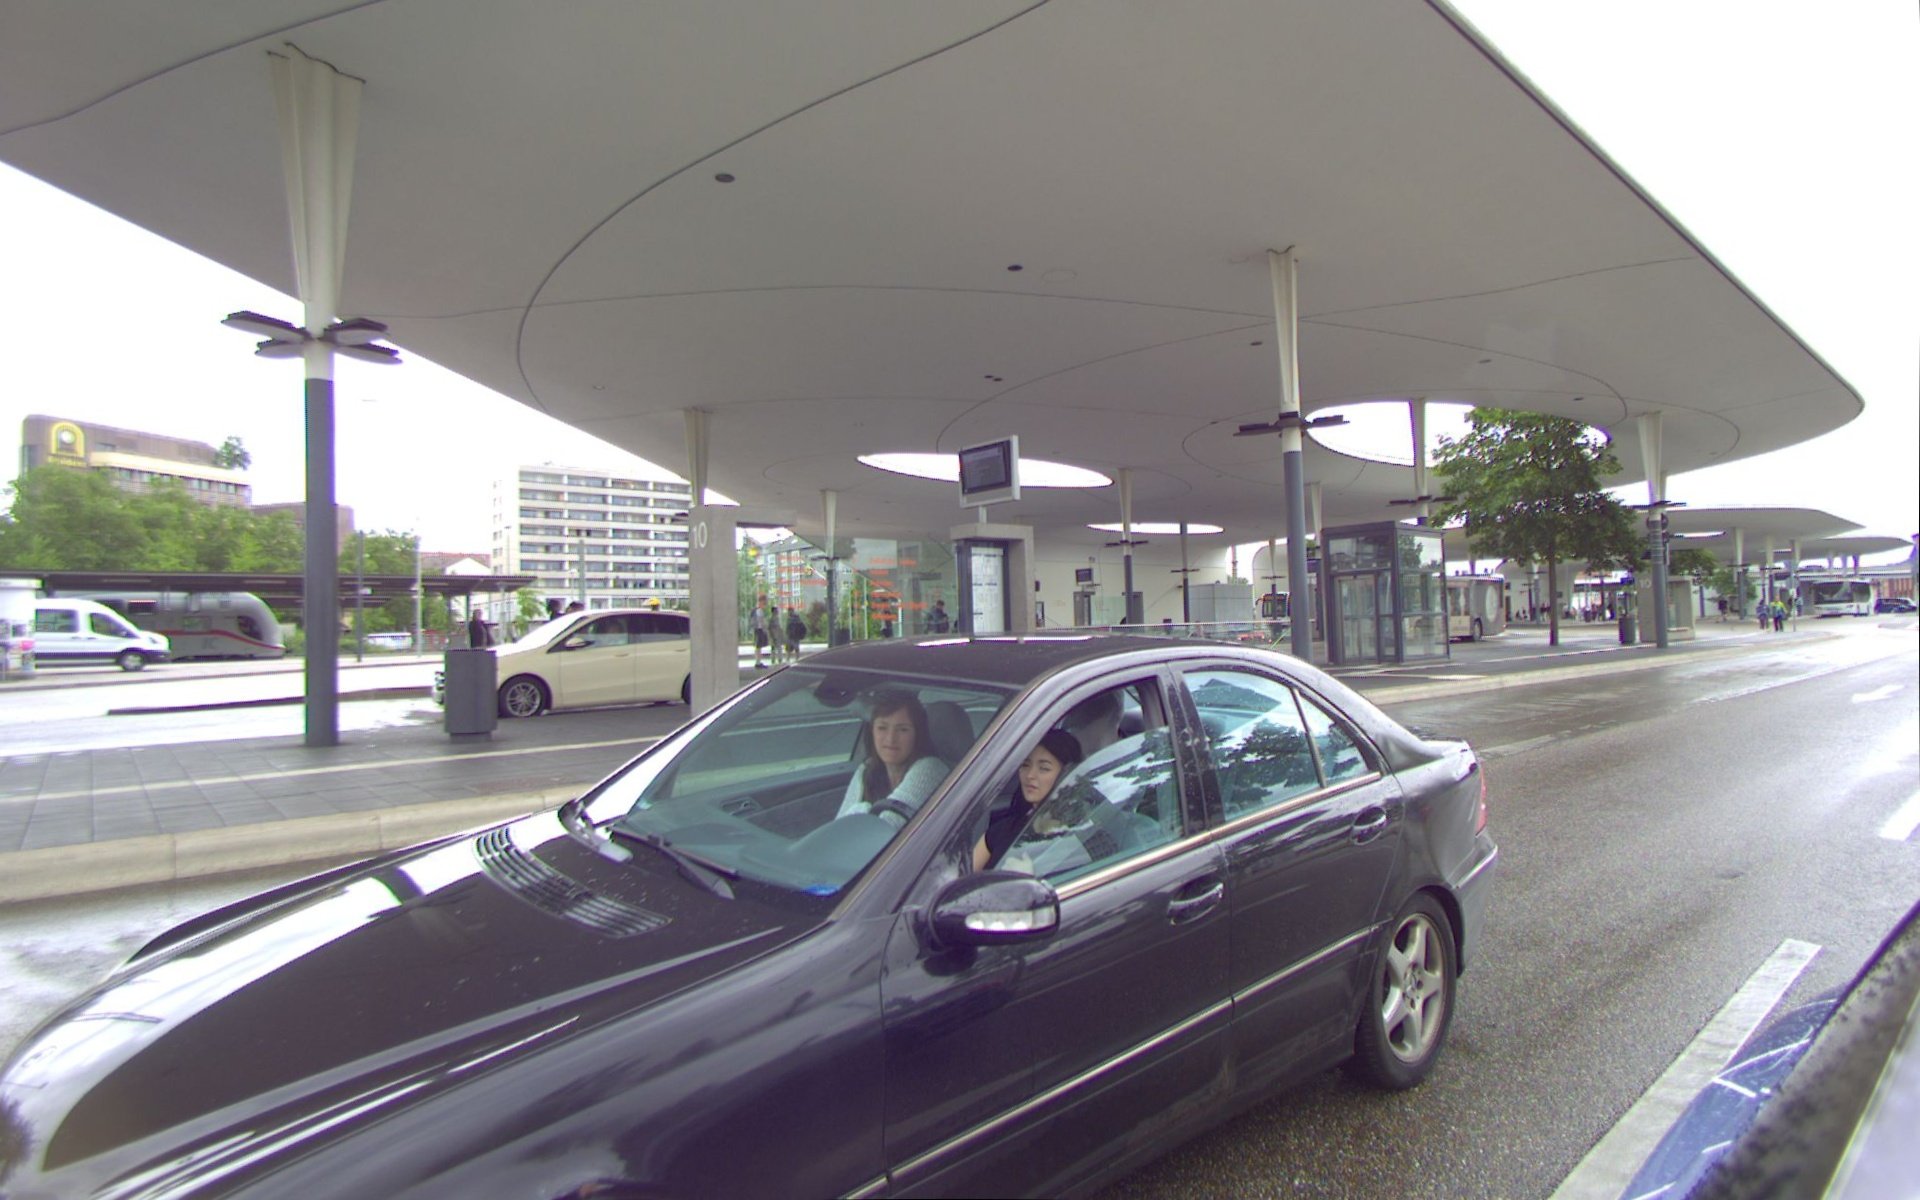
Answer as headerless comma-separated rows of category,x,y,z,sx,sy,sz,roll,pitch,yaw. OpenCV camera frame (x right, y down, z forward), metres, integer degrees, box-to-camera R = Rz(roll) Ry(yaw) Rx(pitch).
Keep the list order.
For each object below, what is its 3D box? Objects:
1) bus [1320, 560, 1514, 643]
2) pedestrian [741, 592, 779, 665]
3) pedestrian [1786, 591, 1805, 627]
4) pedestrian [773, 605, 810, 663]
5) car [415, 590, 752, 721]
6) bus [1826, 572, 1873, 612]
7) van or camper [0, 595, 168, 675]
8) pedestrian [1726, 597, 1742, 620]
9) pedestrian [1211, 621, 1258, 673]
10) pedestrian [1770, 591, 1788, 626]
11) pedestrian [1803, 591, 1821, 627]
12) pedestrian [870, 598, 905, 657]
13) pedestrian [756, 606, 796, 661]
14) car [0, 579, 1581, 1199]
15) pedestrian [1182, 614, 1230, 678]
bus,20.008,0.047,43.675,12.143,3.146,2.999,0,-1,-42
pedestrian,-4.796,0.672,24.264,0.680,1.728,0.658,0,-1,-40
pedestrian,39.093,0.412,47.362,0.543,1.645,0.556,0,-1,-41
pedestrian,-4.910,0.972,29.476,0.646,1.654,0.854,-1,-1,43
car,-5.513,0.749,15.134,4.356,1.671,1.803,0,-3,-41
bus,75.372,-0.670,85.708,2.666,3.169,9.565,-1,-1,43
van or camper,-29.779,1.103,33.226,5.868,2.495,2.106,0,-1,-41
pedestrian,55.569,0.615,72.653,0.740,1.651,0.723,0,-1,-41
pedestrian,5.329,0.903,19.664,0.626,0.974,0.622,0,-1,-41
pedestrian,38.770,0.379,47.908,0.577,1.645,0.576,0,-1,-41
pedestrian,39.394,0.413,46.797,0.543,1.645,0.556,0,-1,-41
pedestrian,-1.938,0.722,27.066,0.680,1.564,0.658,0,-1,-40
pedestrian,-5.140,0.914,28.253,0.732,1.497,0.825,-1,-1,43
car,0.063,0.820,3.031,4.359,1.499,1.747,-2,-4,-41
pedestrian,5.024,0.916,20.683,0.657,1.268,0.692,0,-1,-41
